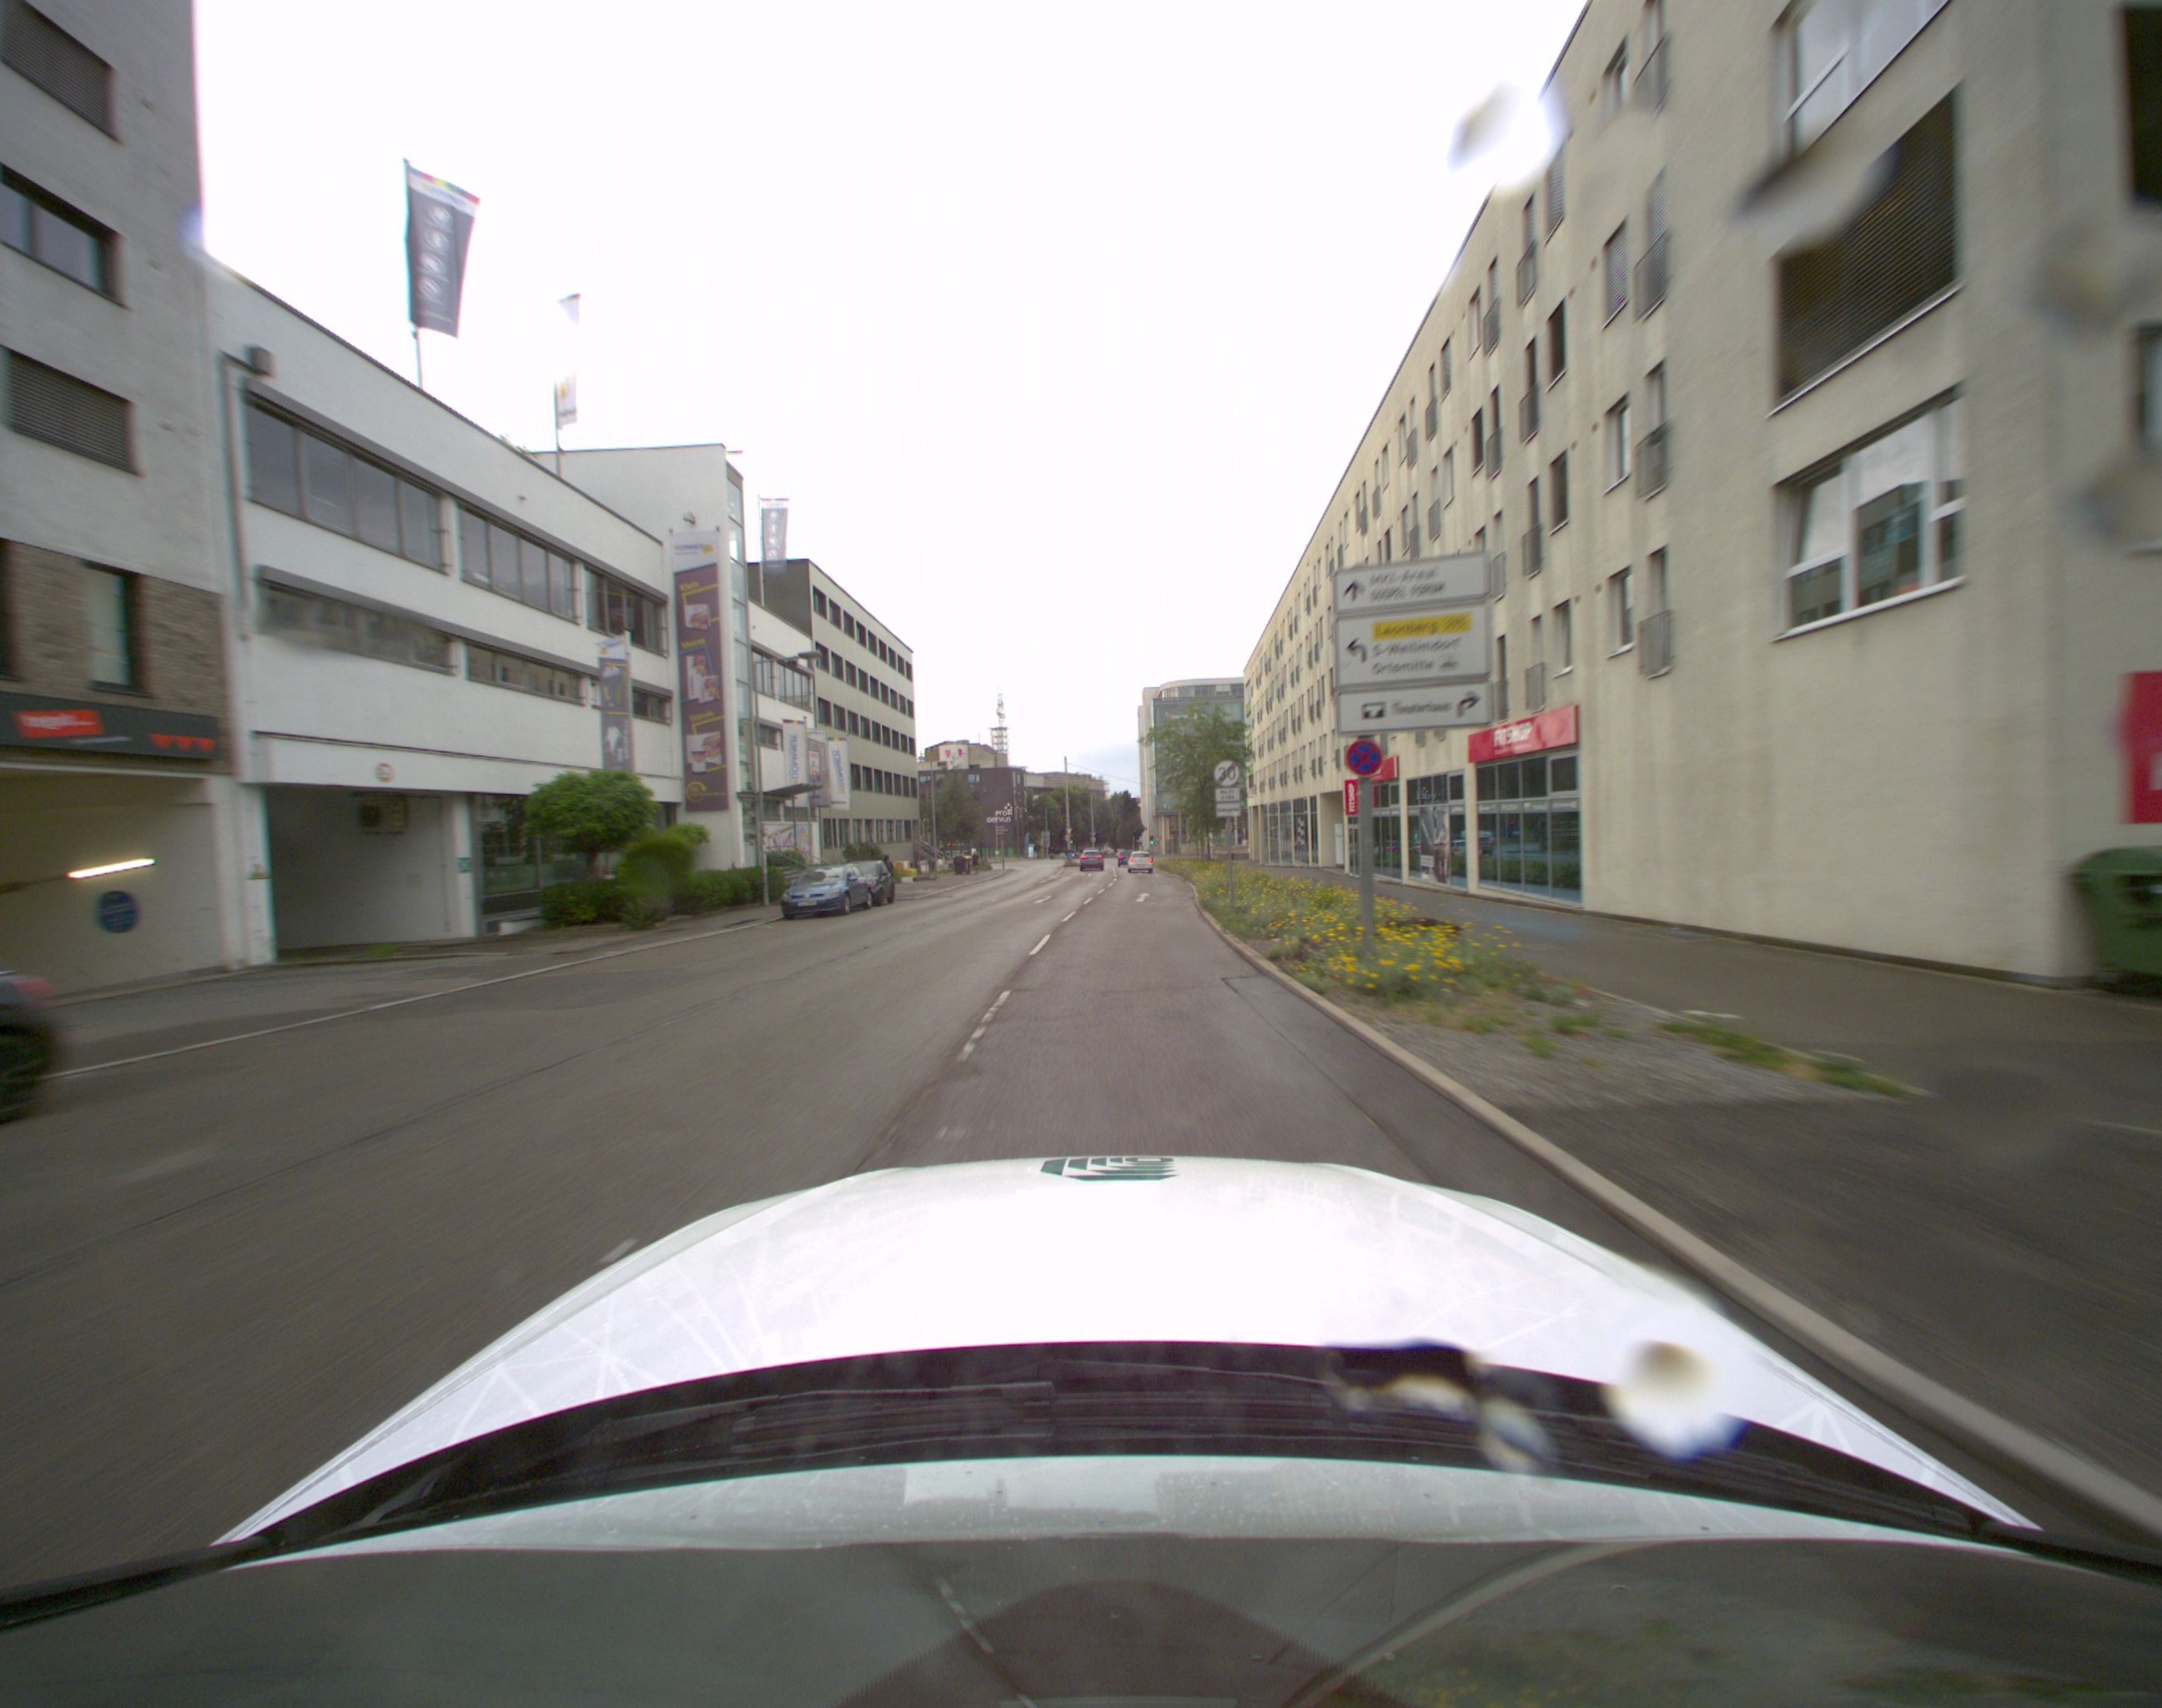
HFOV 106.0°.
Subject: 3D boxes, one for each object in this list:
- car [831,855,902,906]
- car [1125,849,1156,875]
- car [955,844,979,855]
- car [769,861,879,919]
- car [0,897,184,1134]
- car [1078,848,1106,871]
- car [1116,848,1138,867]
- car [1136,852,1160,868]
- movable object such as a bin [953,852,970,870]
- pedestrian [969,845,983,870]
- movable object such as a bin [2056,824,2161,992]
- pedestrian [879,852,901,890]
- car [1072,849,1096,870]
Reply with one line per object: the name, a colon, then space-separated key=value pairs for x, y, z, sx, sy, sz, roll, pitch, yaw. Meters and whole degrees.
car: x=-7.388 y=0.873 z=28.303 sx=1.558 sy=1.514 sz=3.170 roll=-3 pitch=1 yaw=0
car: x=4.101 y=0.525 z=56.492 sx=1.985 sy=1.576 sz=4.000 roll=-2 pitch=1 yaw=4
car: x=-21.701 y=-0.888 z=155.168 sx=3.958 sy=2.013 sz=2.008 roll=-2 pitch=0 yaw=14
car: x=-7.402 y=0.980 z=23.961 sx=1.908 sy=1.481 sz=4.354 roll=-2 pitch=0 yaw=-1
car: x=-8.138 y=1.128 z=4.373 sx=1.789 sy=1.516 sz=4.249 roll=-2 pitch=0 yaw=3
car: x=0.937 y=0.415 z=65.262 sx=2.134 sy=1.728 sz=4.001 roll=-2 pitch=0 yaw=1
car: x=4.563 y=0.290 z=80.822 sx=1.986 sy=1.749 sz=3.674 roll=-2 pitch=1 yaw=1
car: x=6.510 y=0.554 z=78.982 sx=1.987 sy=1.508 sz=4.000 roll=-2 pitch=0 yaw=0
movable object such as a bin: x=-9.227 y=0.544 z=62.675 sx=1.205 sy=1.321 sz=0.871 roll=-2 pitch=1 yaw=-11
pedestrian: x=-8.157 y=0.268 z=63.355 sx=0.960 sy=1.955 sz=0.776 roll=-1 pitch=0 yaw=-11
movable object such as a bin: x=10.350 y=0.472 z=7.633 sx=1.168 sy=1.503 sz=1.015 roll=-2 pitch=0 yaw=4
pedestrian: x=-8.709 y=0.769 z=37.119 sx=0.732 sy=1.708 sz=0.896 roll=-2 pitch=-1 yaw=-26
car: x=0.240 y=0.463 z=72.991 sx=1.987 sy=1.819 sz=3.999 roll=-2 pitch=0 yaw=-1
